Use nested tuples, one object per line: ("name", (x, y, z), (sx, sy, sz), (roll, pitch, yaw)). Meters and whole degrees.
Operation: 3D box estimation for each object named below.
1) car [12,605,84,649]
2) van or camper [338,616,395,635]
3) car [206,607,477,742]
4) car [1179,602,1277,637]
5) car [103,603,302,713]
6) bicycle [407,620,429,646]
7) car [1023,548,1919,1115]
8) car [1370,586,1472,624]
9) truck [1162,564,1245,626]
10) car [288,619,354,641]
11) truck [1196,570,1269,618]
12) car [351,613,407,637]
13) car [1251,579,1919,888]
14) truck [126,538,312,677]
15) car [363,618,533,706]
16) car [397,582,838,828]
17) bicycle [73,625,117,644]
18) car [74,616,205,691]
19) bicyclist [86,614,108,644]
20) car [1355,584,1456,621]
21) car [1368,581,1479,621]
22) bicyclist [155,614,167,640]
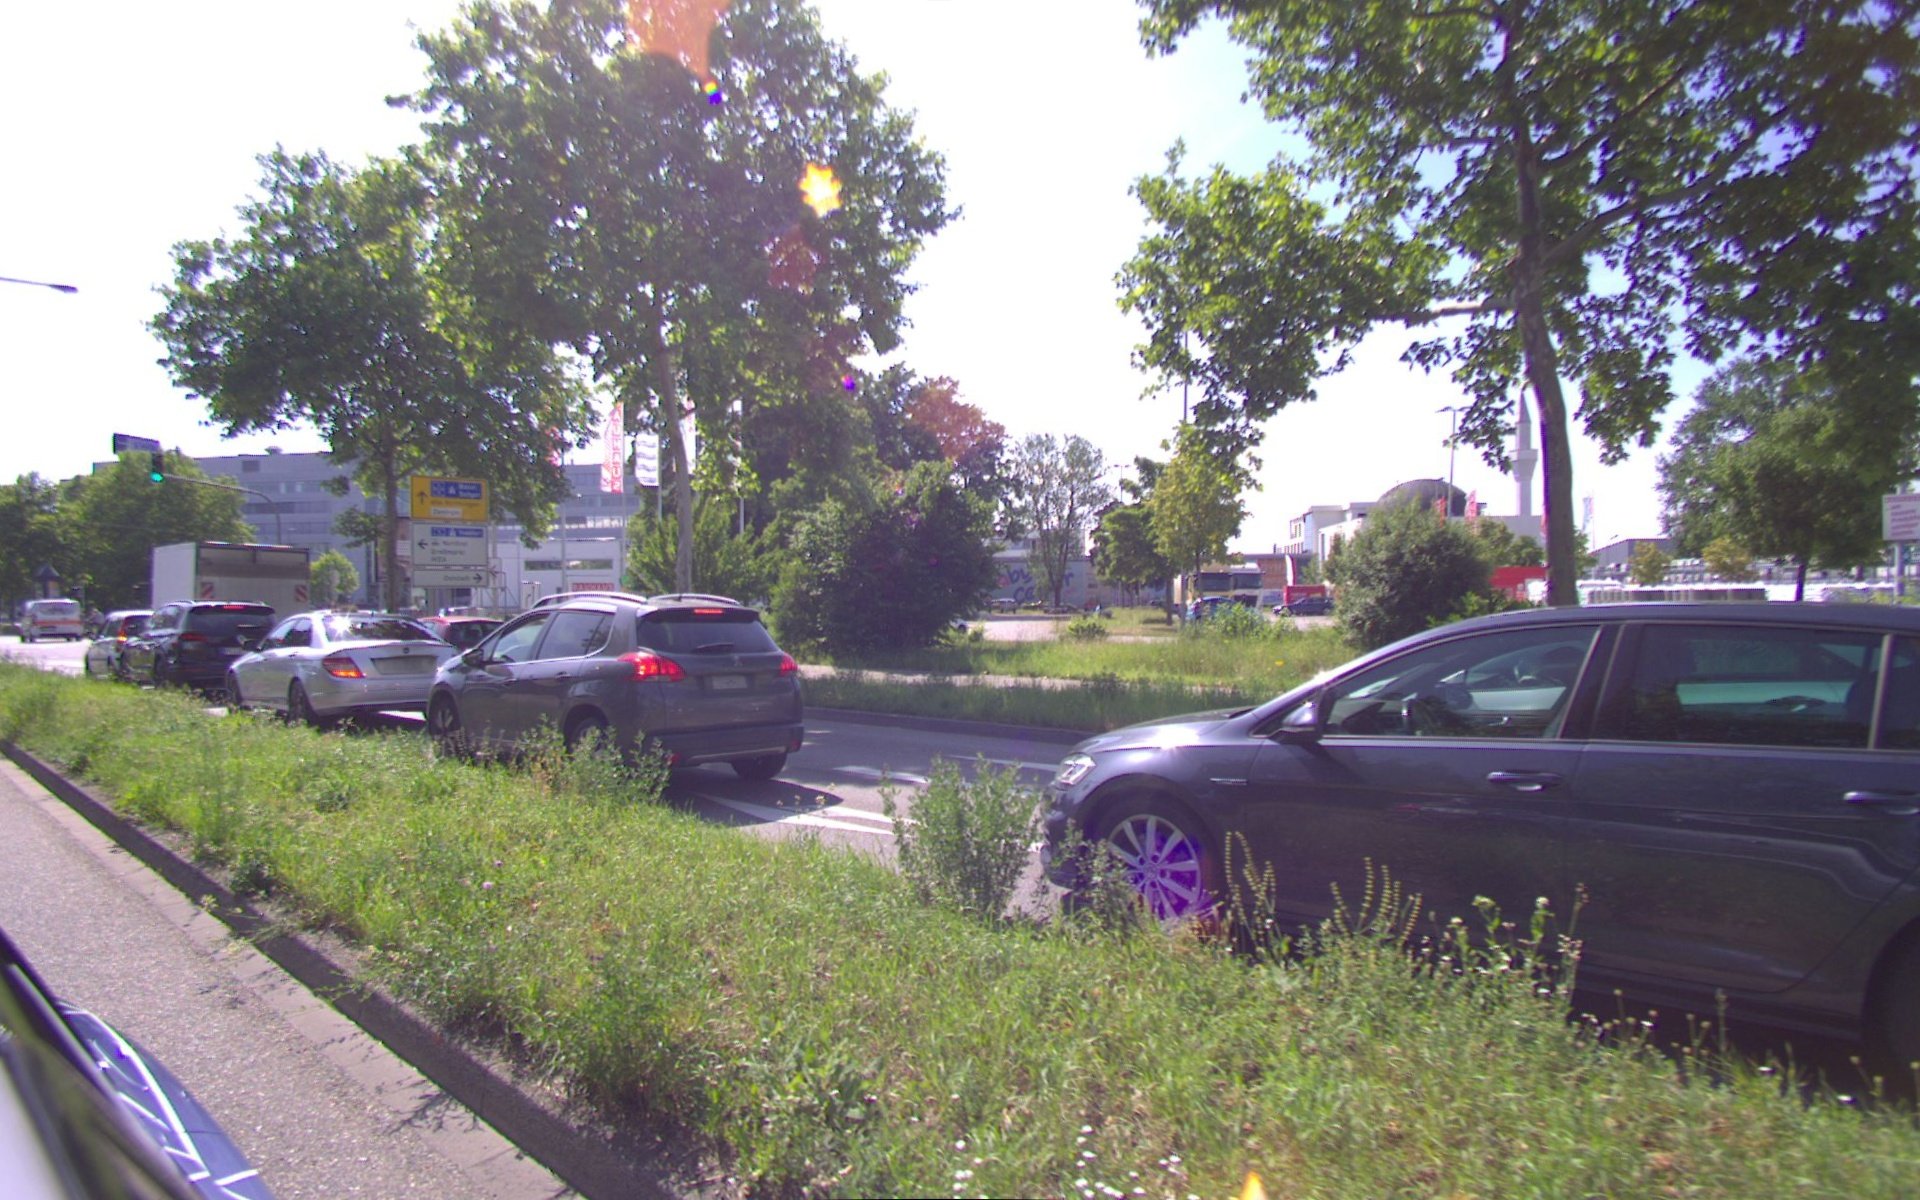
("car", (-44.106, 1.336, 48.896), (5.029, 2.015, 1.955), (-1, -3, 41))
("van or camper", (-57.612, 2.464, 98.233), (4.453, 1.704, 1.998), (-1, 0, 4))
("car", (-8.218, 0.872, 13.268), (4.521, 1.479, 1.778), (-1, -2, 41))
("car", (12.738, 0.926, 48.267), (4.226, 1.584, 1.819), (-1, 0, 5))
("car", (-13.161, 0.891, 17.477), (4.692, 1.659, 1.801), (0, -1, 41))
("bicycle", (-22.872, 1.391, 42.681), (0.586, 1.045, 1.900), (-1, 0, -35))
("car", (2.414, 0.646, 3.872), (4.216, 1.485, 1.671), (-1, -3, 41))
("car", (32.681, 0.344, 71.950), (6.056, 2.548, 2.382), (-1, -1, 9))
("truck", (14.006, -0.222, 59.006), (3.119, 3.336, 8.915), (-1, -1, 3))
("car", (-43.924, 2.043, 69.618), (1.824, 1.460, 3.994), (-1, -1, 5))
("truck", (18.040, -0.358, 67.622), (2.889, 2.914, 9.602), (-1, 0, 4))
("car", (-43.712, 1.856, 76.279), (1.972, 1.712, 4.000), (-1, -1, -1))
("car", (4.205, 0.718, 6.666), (4.080, 1.542, 1.672), (-1, -3, 40))
("truck", (-21.121, 0.290, 28.713), (6.687, 3.498, 2.775), (-2, -3, 41))
("car", (-9.430, 1.082, 18.535), (3.543, 1.463, 1.548), (-1, -3, 41))
("car", (-3.081, 0.732, 8.624), (4.238, 1.599, 1.671), (-1, -2, 41))
("bicycle", (-52.843, 2.111, 61.853), (0.520, 1.072, 2.158), (-1, 0, 11))
("car", (-17.722, 1.106, 21.810), (3.727, 1.488, 1.576), (-1, -2, 41))
("bicyclist", (-52.834, 1.752, 61.952), (0.698, 1.802, 0.765), (-1, -1, 11))
("car", (32.961, 0.197, 75.002), (6.365, 2.548, 2.382), (-1, -1, 9))
("car", (31.324, 0.065, 68.565), (6.365, 2.548, 2.382), (-1, -1, 9))
("bicyclist", (-47.361, 1.607, 59.979), (0.521, 1.502, 0.610), (0, -1, -42))
